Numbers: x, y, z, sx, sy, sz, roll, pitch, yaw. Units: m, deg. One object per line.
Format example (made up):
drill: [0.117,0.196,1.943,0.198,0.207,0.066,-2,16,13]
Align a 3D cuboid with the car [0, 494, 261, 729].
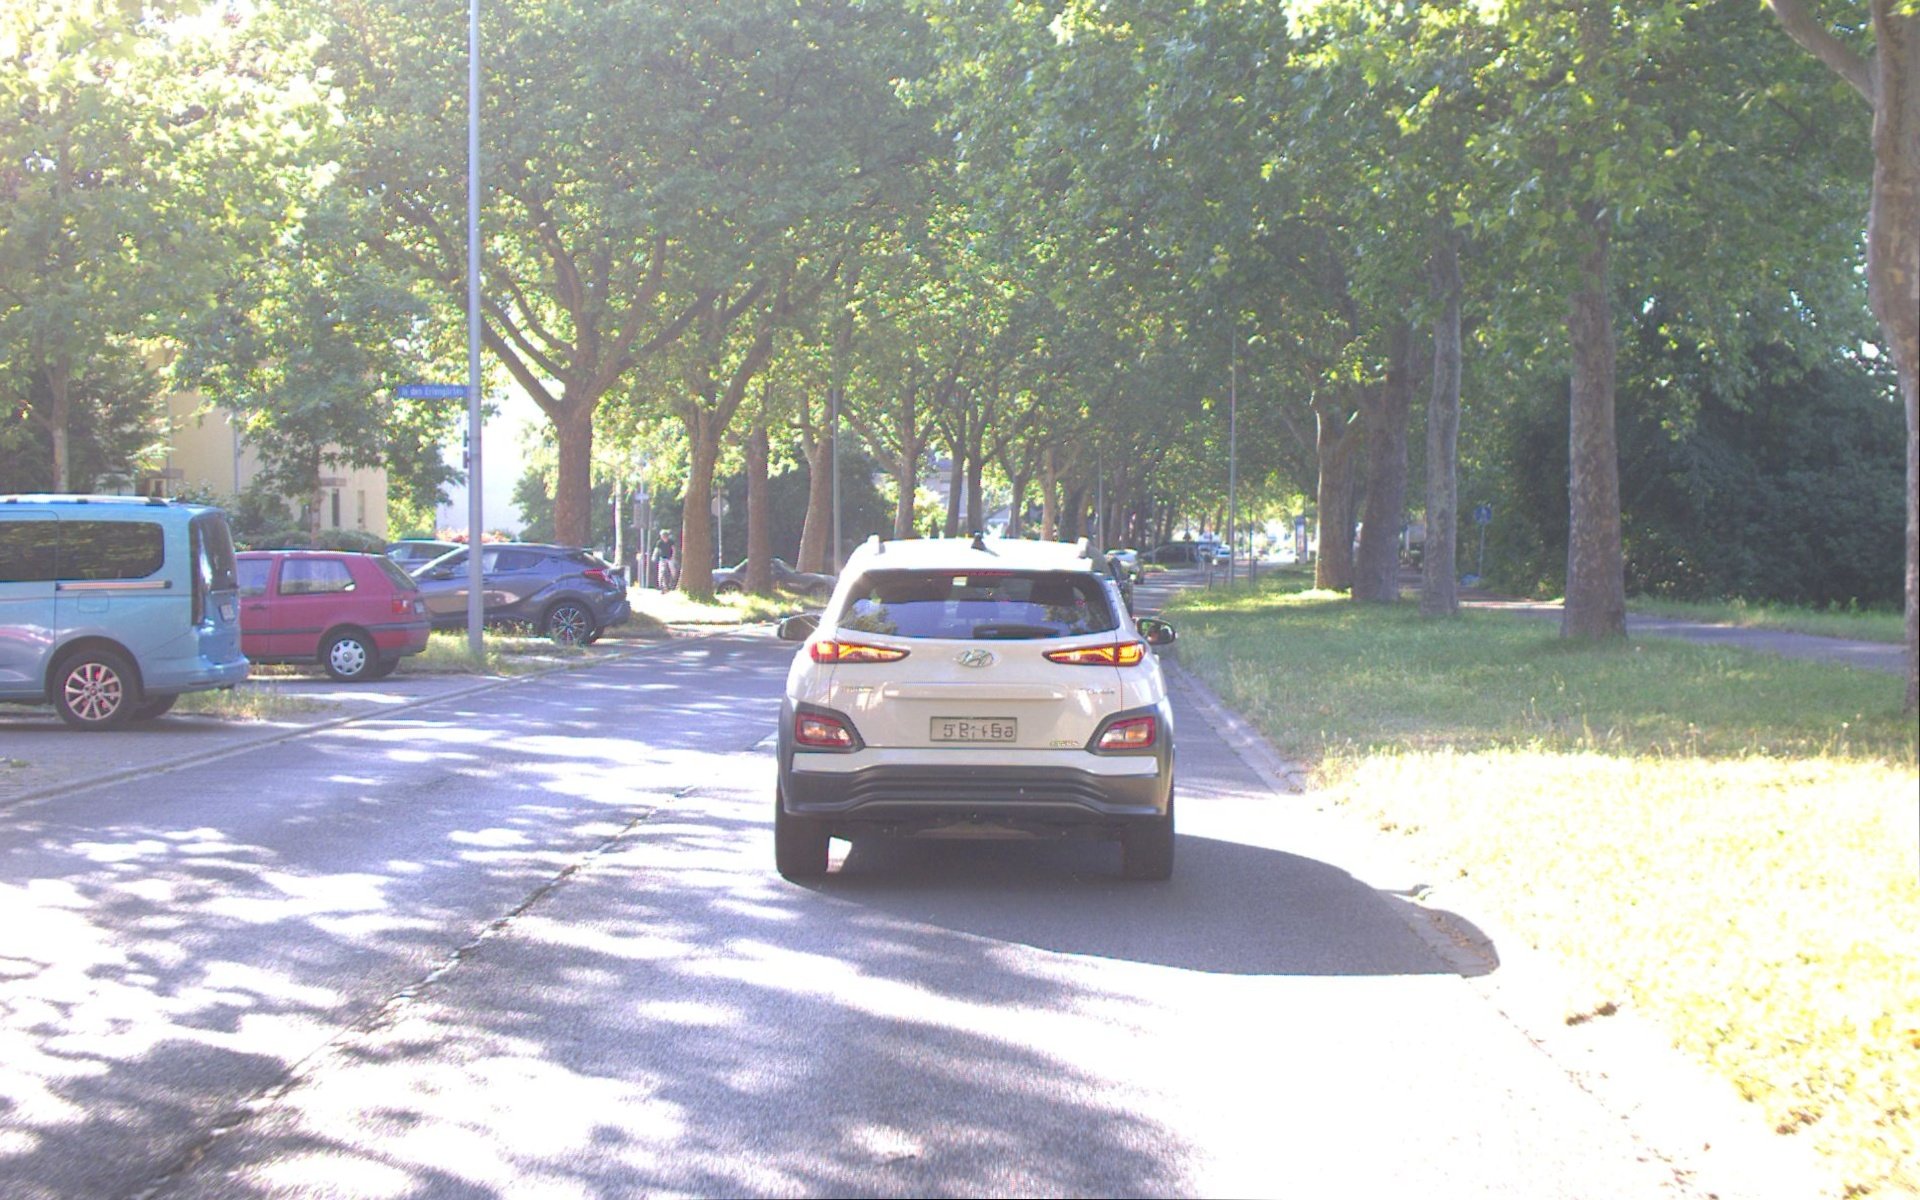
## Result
car: [-8.027,0.062,27.753,4.385,1.818,1.996,0,1,-1]

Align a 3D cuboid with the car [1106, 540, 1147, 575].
car: [7.120,-1.806,147.015,1.689,1.460,3.694,1,1,3]

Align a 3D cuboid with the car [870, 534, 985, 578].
car: [-1.196,-1.637,127.339,4.183,1.579,2.000,0,1,2]

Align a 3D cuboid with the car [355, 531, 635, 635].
car: [-6.951,-0.262,51.651,3.988,1.513,1.817,0,1,-1]

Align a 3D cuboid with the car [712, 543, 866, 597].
car: [-4.471,-0.798,90.043,3.826,1.312,1.790,1,1,4]

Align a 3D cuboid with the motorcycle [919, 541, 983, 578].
motorcycle: [-0.337,-1.524,129.833,2.385,1.383,0.648,0,1,1]

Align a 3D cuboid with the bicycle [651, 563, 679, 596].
bicycle: [-8.042,-0.575,93.757,0.470,0.877,2.155,0,1,3]

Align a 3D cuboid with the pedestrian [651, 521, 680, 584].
pedestrian: [-8.024,-1.299,93.660,0.617,1.710,1.065,0,1,3]

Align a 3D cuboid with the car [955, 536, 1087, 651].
car: [0.870,-0.124,48.360,1.763,1.518,3.920,1,1,1]

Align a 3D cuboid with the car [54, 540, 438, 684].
car: [-7.778,0.117,37.684,3.871,1.513,1.665,0,1,-1]

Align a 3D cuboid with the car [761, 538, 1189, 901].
car: [0.001,0.494,16.940,1.835,1.550,4.000,1,1,-2]
